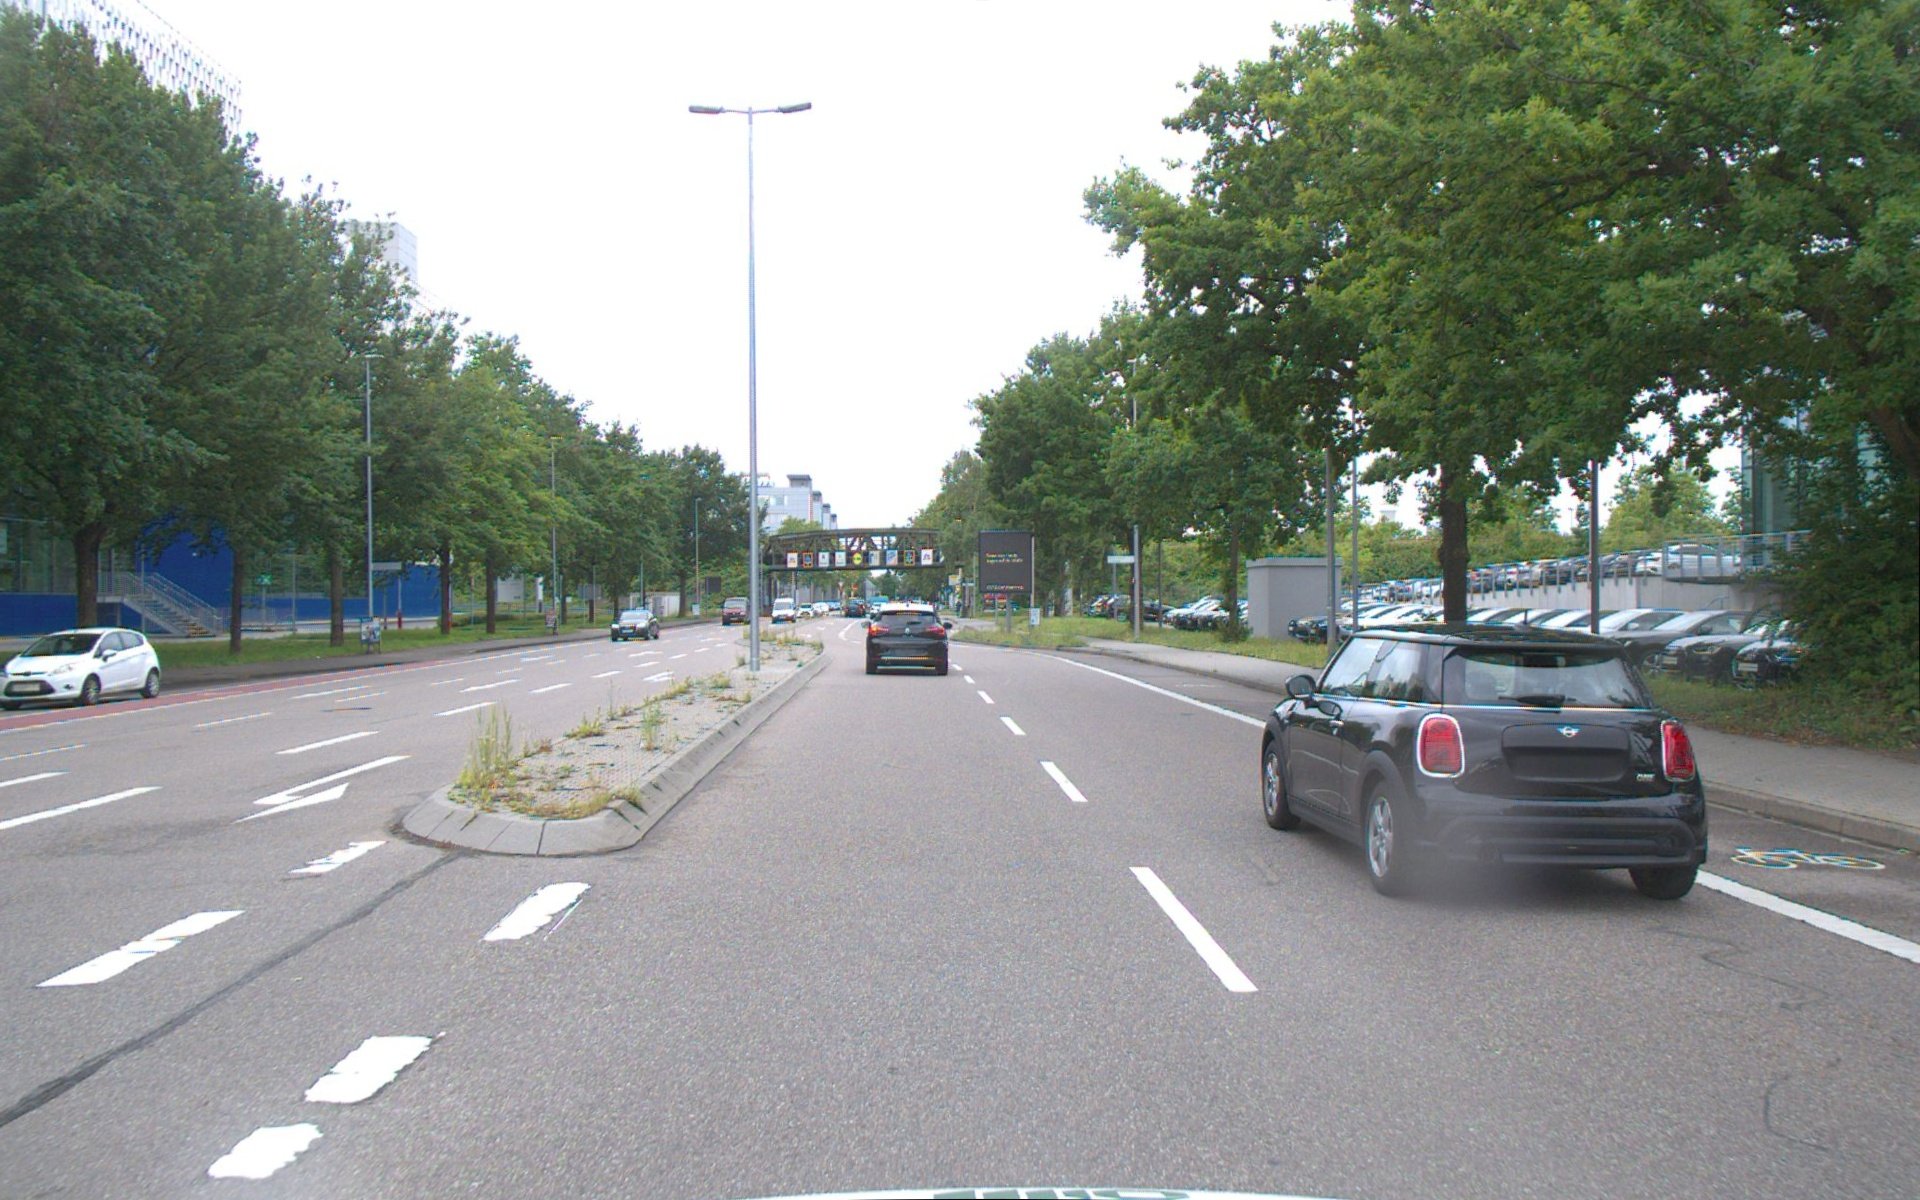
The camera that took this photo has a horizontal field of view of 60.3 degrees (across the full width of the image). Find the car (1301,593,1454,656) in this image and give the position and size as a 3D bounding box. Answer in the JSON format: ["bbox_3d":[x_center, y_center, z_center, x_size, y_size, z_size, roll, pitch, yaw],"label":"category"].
[{"bbox_3d":[12.759,0.733,50.749,4.092,1.470,1.960,6,2,-1],"label":"car"}]

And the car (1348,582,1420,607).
[{"bbox_3d":[26.380,-0.358,103.078,4.004,1.460,1.729,1,2,-4],"label":"car"}]

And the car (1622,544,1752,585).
[{"bbox_3d":[28.422,-1.386,64.759,4.249,1.522,1.881,1,2,-4],"label":"car"}]

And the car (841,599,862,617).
[{"bbox_3d":[-11.306,0.840,172.763,1.845,1.690,3.782,1,2,0],"label":"car"}]

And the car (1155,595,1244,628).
[{"bbox_3d":[11.612,0.555,80.364,4.004,1.460,1.729,1,2,-4],"label":"car"}]

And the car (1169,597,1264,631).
[{"bbox_3d":[11.714,0.627,75.642,4.004,1.460,1.821,1,2,-4],"label":"car"}]

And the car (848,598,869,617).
[{"bbox_3d":[-11.014,0.833,179.716,1.910,1.847,4.001,1,2,0],"label":"car"}]

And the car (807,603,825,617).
[{"bbox_3d":[-16.335,1.097,187.187,1.684,1.395,3.440,1,2,0],"label":"car"}]

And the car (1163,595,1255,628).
[{"bbox_3d":[11.717,0.543,78.050,4.004,1.460,1.845,1,2,-4],"label":"car"}]

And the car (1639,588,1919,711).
[{"bbox_3d":[13.712,0.805,27.331,4.125,1.511,1.825,6,1,-3],"label":"car"}]

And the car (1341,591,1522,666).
[{"bbox_3d":[12.987,0.767,45.770,4.306,1.546,2.000,6,2,-2],"label":"car"}]

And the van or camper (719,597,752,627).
[{"bbox_3d":[-16.169,0.848,119.328,1.837,2.021,4.887,-1,1,-2],"label":"van or camper"}]

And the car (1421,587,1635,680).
[{"bbox_3d":[12.904,0.741,37.771,4.092,1.691,2.000,5,1,-1],"label":"car"}]

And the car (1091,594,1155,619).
[{"bbox_3d":[10.052,0.391,102.201,3.903,1.460,1.731,1,2,4],"label":"car"}]

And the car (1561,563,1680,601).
[{"bbox_3d":[28.020,-0.779,70.247,4.249,1.522,1.969,1,2,-4],"label":"car"}]

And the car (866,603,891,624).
[{"bbox_3d":[-7.353,1.200,149.570,2.091,1.690,3.782,1,2,0],"label":"car"}]

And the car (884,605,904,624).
[{"bbox_3d":[-7.169,1.526,179.378,1.910,1.847,4.001,1,2,0],"label":"car"}]

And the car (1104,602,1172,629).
[{"bbox_3d":[10.321,0.900,96.052,3.903,1.460,1.731,1,2,4],"label":"car"}]

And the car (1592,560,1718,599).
[{"bbox_3d":[28.329,-0.853,67.520,4.249,1.522,2.068,1,2,-4],"label":"car"}]

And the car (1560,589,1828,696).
[{"bbox_3d":[13.307,0.748,30.152,3.983,1.511,1.818,5,1,-3],"label":"car"}]

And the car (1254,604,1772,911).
[{"bbox_3d":[3.048,0.781,9.952,1.750,1.440,3.641,2,0,-2],"label":"car"}]

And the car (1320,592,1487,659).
[{"bbox_3d":[12.911,0.721,48.343,4.208,1.530,2.029,5,0,-1],"label":"car"}]

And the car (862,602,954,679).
[{"bbox_3d":[-1.041,0.804,34.800,1.721,1.459,4.001,0,1,1],"label":"car"}]

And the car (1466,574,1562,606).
[{"bbox_3d":[27.002,-0.512,80.724,4.004,1.460,1.946,1,2,-4],"label":"car"}]

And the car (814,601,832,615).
[{"bbox_3d":[-17.267,0.994,208.643,1.900,1.705,3.782,1,2,0],"label":"car"}]

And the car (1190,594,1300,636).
[{"bbox_3d":[12.154,0.640,70.672,4.257,1.529,1.928,3,0,-3],"label":"car"}]

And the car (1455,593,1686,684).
[{"bbox_3d":[12.963,0.800,35.304,4.098,1.511,1.977,5,1,-2],"label":"car"}]

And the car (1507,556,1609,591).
[{"bbox_3d":[27.236,-1.232,75.431,4.004,1.522,1.729,1,2,-4],"label":"car"}]

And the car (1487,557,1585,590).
[{"bbox_3d":[27.160,-1.270,78.069,4.004,1.460,1.729,1,2,-4],"label":"car"}]

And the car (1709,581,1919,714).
[{"bbox_3d":[13.714,0.778,24.632,4.154,1.629,1.875,6,1,-3],"label":"car"}]

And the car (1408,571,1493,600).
[{"bbox_3d":[26.917,-0.807,90.882,4.116,1.460,1.729,1,2,-4],"label":"car"}]

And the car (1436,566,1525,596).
[{"bbox_3d":[26.959,-1.009,85.702,4.004,1.460,1.729,1,2,-4],"label":"car"}]

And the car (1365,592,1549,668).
[{"bbox_3d":[12.917,0.760,43.157,4.092,1.494,2.000,6,2,-1],"label":"car"}]

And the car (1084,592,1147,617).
[{"bbox_3d":[9.795,0.276,104.547,3.903,1.460,1.731,1,2,4],"label":"car"}]

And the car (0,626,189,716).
[{"bbox_3d":[-17.332,1.358,32.898,1.818,1.487,4.333,-2,1,2],"label":"car"}]

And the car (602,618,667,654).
[{"bbox_3d":[-15.313,1.659,77.919,1.878,1.528,4.254,-3,-1,4],"label":"car"}]

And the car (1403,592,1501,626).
[{"bbox_3d":[22.756,0.399,76.581,4.004,1.460,1.729,1,2,-4],"label":"car"}]

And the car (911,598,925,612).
[{"bbox_3d":[-6.338,0.754,249.480,1.910,1.847,4.001,1,2,0],"label":"car"}]

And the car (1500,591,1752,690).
[{"bbox_3d":[13.125,0.770,32.752,4.113,1.511,1.958,5,1,-3],"label":"car"}]

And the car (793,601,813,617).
[{"bbox_3d":[-16.153,0.954,170.664,1.718,1.471,3.340,1,2,0],"label":"car"}]

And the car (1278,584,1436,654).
[{"bbox_3d":[12.754,0.582,53.352,4.459,1.731,2.000,6,2,-1],"label":"car"}]

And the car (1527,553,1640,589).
[{"bbox_3d":[27.421,-1.275,72.802,4.249,1.522,1.881,1,2,-4],"label":"car"}]

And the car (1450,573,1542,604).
[{"bbox_3d":[26.886,-0.576,83.031,4.004,1.460,1.729,1,2,-4],"label":"car"}]

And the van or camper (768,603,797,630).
[{"bbox_3d":[-12.987,1.201,121.356,1.720,1.777,4.405,-3,1,-2],"label":"van or camper"}]
